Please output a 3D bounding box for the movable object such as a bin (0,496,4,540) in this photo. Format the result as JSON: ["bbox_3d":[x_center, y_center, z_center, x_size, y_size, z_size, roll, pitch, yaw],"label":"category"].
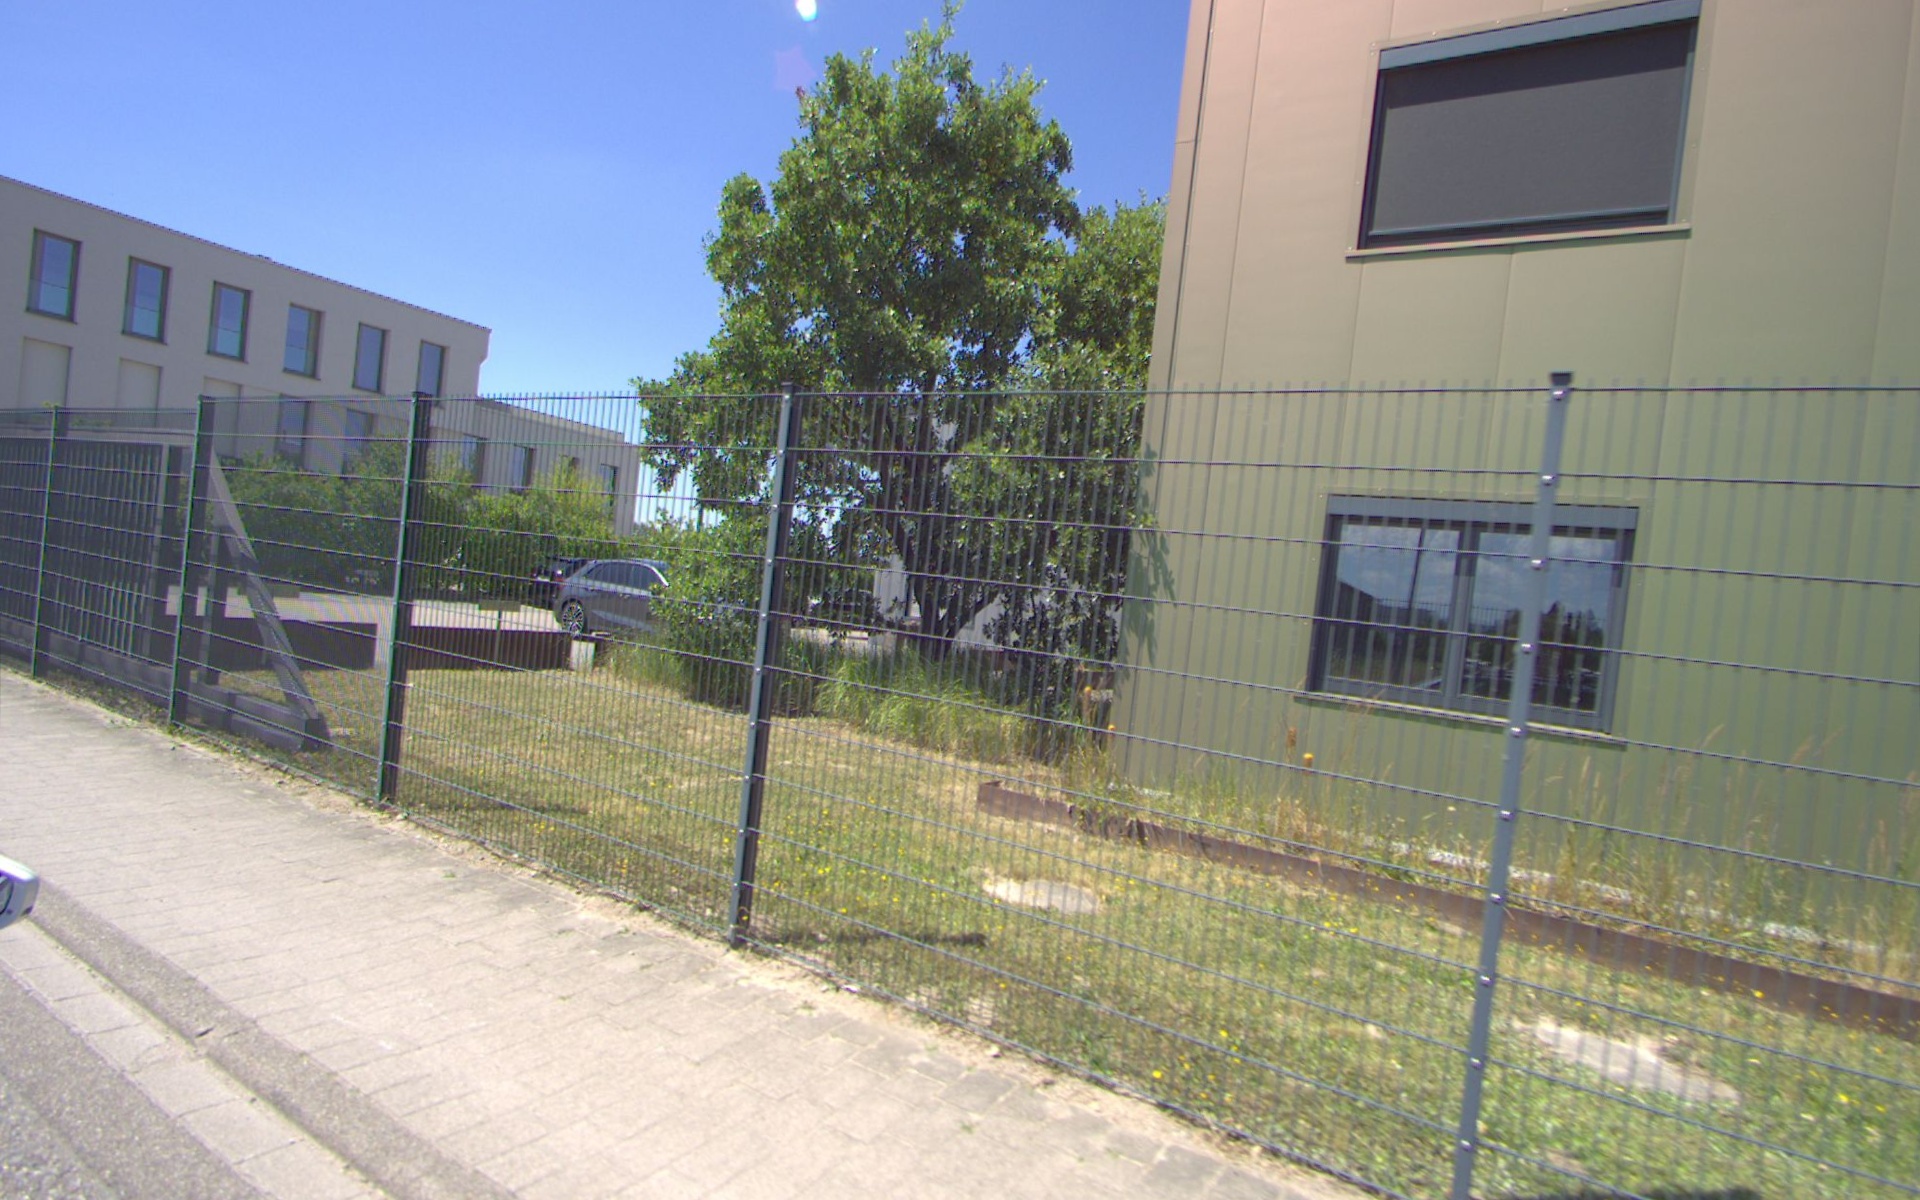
[{"bbox_3d":[-17.419,-1.154,17.158,0.933,1.478,1.335,6,1,31],"label":"movable object such as a bin"}]

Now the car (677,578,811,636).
[{"bbox_3d":[-6.791,0.264,31.961,1.763,1.371,3.991,7,0,33],"label":"car"}]

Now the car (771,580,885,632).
[{"bbox_3d":[-4.658,0.249,36.048,1.763,1.371,3.991,7,0,33],"label":"car"}]

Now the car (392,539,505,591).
[{"bbox_3d":[-21.069,-1.457,41.411,4.444,1.505,1.996,8,1,31],"label":"car"}]

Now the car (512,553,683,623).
[{"bbox_3d":[-9.661,-0.286,27.090,1.763,1.371,3.991,7,0,33],"label":"car"}]

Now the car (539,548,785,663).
[{"bbox_3d":[-5.028,0.076,16.828,3.934,1.462,1.657,6,0,32],"label":"car"}]
